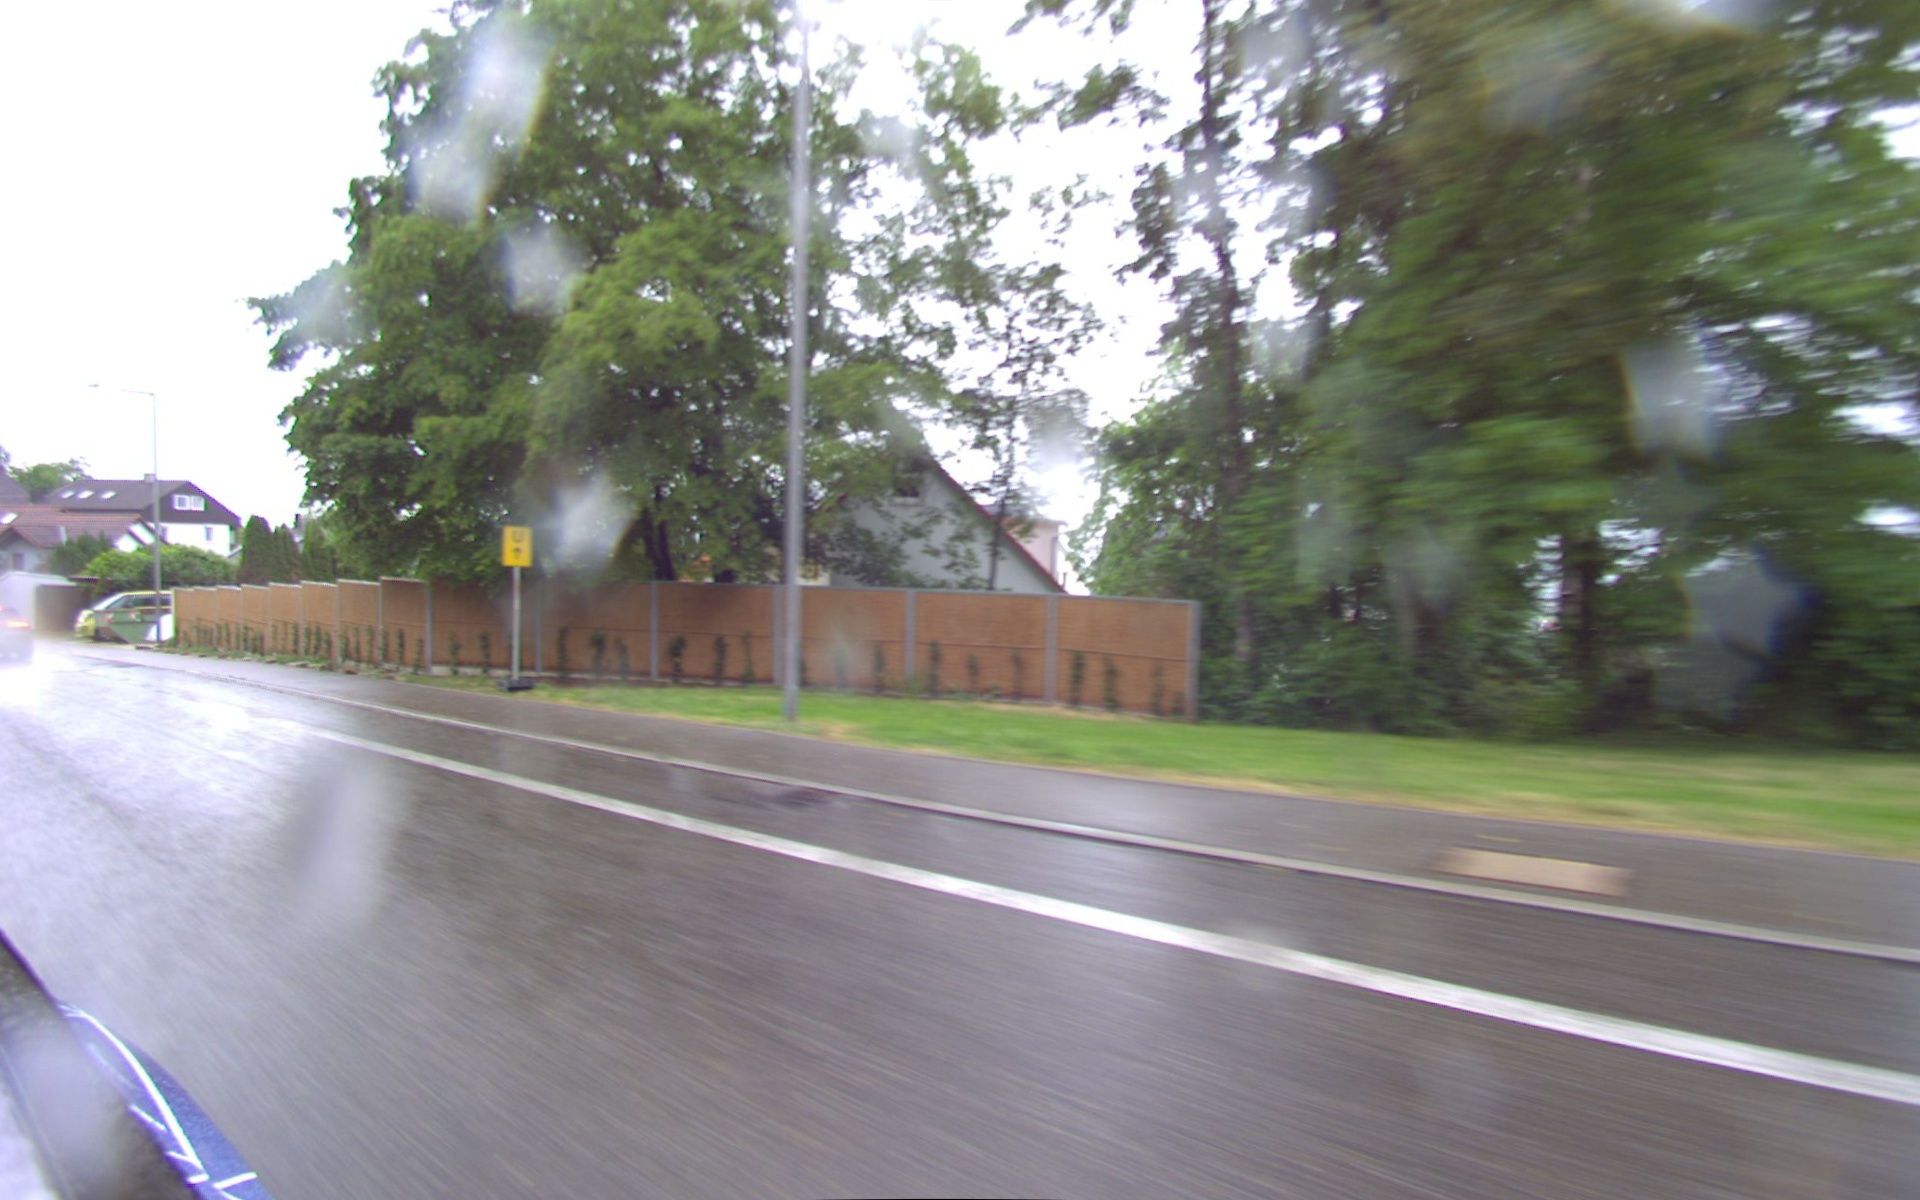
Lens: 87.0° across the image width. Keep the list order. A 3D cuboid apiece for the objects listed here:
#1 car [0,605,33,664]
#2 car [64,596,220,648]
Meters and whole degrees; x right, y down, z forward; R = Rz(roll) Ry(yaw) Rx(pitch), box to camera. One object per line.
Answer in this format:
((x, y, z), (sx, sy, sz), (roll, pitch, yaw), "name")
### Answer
((-29.289, 1.006, 30.134), (4.542, 1.660, 1.899), (-1, -1, 40), "car")
((-32.042, 0.822, 39.736), (2.087, 1.874, 4.458), (-1, 0, 39), "car")
